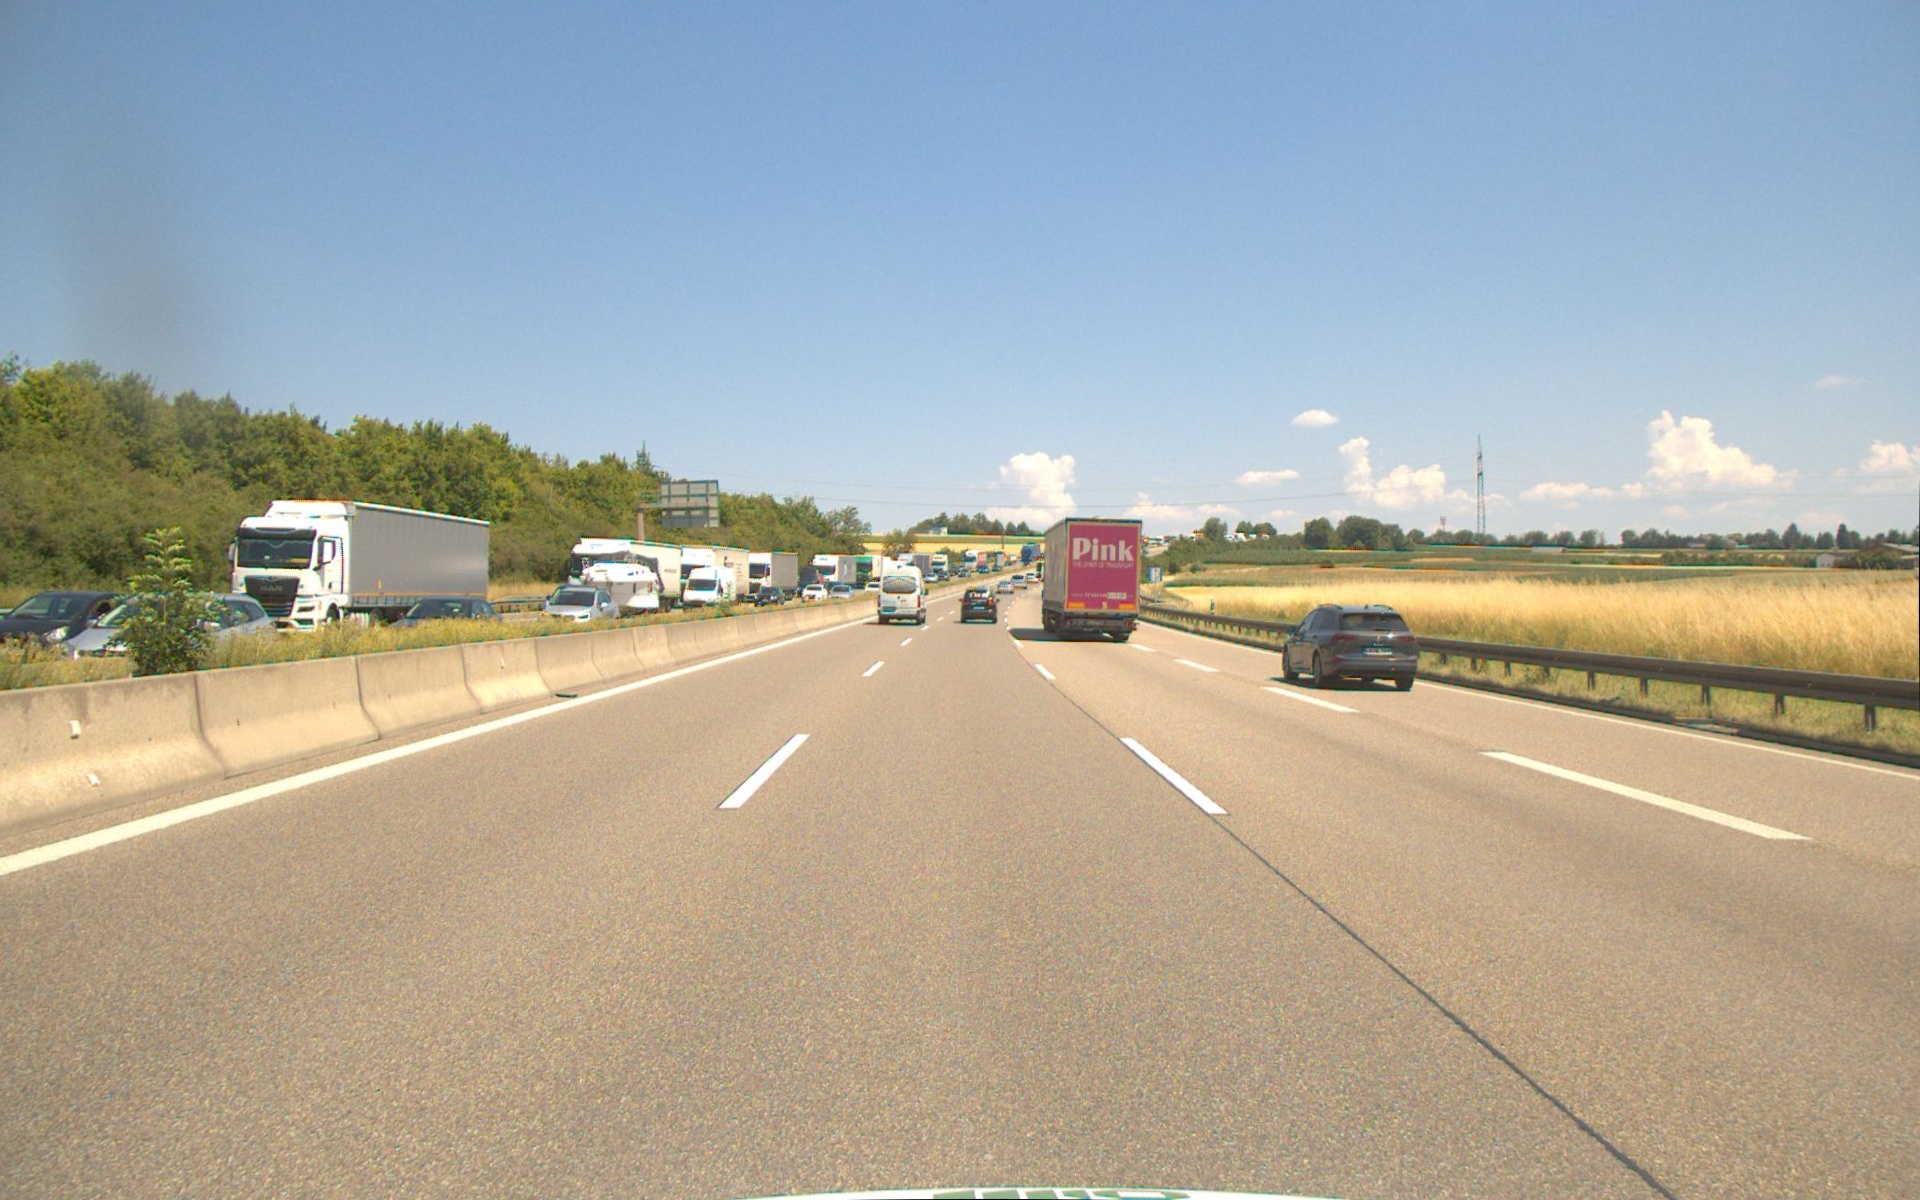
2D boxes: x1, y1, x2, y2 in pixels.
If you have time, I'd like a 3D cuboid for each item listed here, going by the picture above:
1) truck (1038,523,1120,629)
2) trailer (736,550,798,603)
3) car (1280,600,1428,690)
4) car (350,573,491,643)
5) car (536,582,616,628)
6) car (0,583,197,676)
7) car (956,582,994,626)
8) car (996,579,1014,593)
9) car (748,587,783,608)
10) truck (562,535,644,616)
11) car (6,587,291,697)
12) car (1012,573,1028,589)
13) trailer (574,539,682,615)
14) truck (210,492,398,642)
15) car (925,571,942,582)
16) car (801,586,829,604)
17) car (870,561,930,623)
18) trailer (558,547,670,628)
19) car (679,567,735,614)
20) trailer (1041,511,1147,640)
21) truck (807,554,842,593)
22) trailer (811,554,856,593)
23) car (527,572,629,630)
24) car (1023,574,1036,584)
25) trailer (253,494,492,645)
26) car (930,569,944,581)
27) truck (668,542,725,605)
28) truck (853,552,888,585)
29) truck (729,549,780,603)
[{"bbox_3d":[4.782,-1.019,67.837,2.856,4.078,6.512,1,1,0],"label":"truck"},{"bbox_3d":[-16.423,-2.000,141.733,2.920,4.279,14.199,1,1,3],"label":"trailer"},{"bbox_3d":[7.207,0.781,30.646,1.725,1.496,4.537,1,0,1],"label":"car"},{"bbox_3d":[-12.522,0.167,38.675,1.953,1.547,4.306,0,0,-1],"label":"car"},{"bbox_3d":[-15.044,0.187,65.044,2.064,1.753,4.930,0,0,-1],"label":"car"},{"bbox_3d":[-15.893,0.493,29.954,1.952,1.547,4.309,0,0,3],"label":"car"},{"bbox_3d":[0.750,0.170,80.276,1.809,1.893,4.208,0,3,1],"label":"car"},{"bbox_3d":[4.915,-1.548,182.060,1.952,1.612,4.001,0,1,1],"label":"car"},{"bbox_3d":[-14.105,-0.173,119.990,1.837,1.459,4.925,1,1,1],"label":"car"},{"bbox_3d":[-18.652,-1.268,86.674,2.789,4.077,5.976,0,0,2],"label":"truck"},{"bbox_3d":[-11.848,0.552,24.578,1.953,1.470,4.791,0,0,-1],"label":"car"},{"bbox_3d":[7.553,-2.370,208.041,1.952,1.937,4.001,1,0,3],"label":"car"},{"bbox_3d":[-18.458,-1.238,93.098,2.843,3.940,13.880,0,0,2],"label":"trailer"},{"bbox_3d":[-19.455,-0.939,49.517,3.133,4.205,6.183,0,0,0],"label":"truck"},{"bbox_3d":[-3.930,-3.485,243.281,1.919,1.486,4.250,1,0,7],"label":"car"},{"bbox_3d":[-12.155,-0.429,139.048,1.842,1.500,4.407,0,0,2],"label":"car"},{"bbox_3d":[-2.686,-0.350,75.095,2.134,2.670,4.675,1,0,4],"label":"car"},{"bbox_3d":[-15.041,-0.491,72.750,2.811,3.239,10.726,1,0,-1],"label":"trailer"},{"bbox_3d":[-14.538,-0.545,95.421,1.858,2.619,7.574,1,0,2],"label":"car"},{"bbox_3d":[4.722,-0.944,60.932,2.858,4.189,13.860,1,1,1],"label":"trailer"},{"bbox_3d":[-14.418,-2.864,176.271,2.793,4.106,6.608,0,1,4],"label":"truck"},{"bbox_3d":[-13.924,-3.017,183.228,2.841,4.157,14.454,0,1,4],"label":"trailer"},{"bbox_3d":[-11.624,0.018,50.662,1.803,1.706,4.444,0,0,4],"label":"car"},{"bbox_3d":[10.274,-3.132,243.936,1.952,1.333,4.002,0,2,2],"label":"car"},{"bbox_3d":[-19.501,-0.966,56.315,3.155,4.498,13.780,0,0,0],"label":"trailer"},{"bbox_3d":[-3.581,-3.872,256.806,1.822,1.670,5.116,0,0,4],"label":"car"},{"bbox_3d":[-17.802,-1.770,112.022,2.698,4.113,6.100,1,1,1],"label":"truck"},{"bbox_3d":[-11.267,-4.023,209.679,2.783,3.966,11.256,-1,1,5],"label":"truck"},{"bbox_3d":[-16.708,-1.922,135.121,2.900,4.283,6.607,1,0,4],"label":"truck"}]
